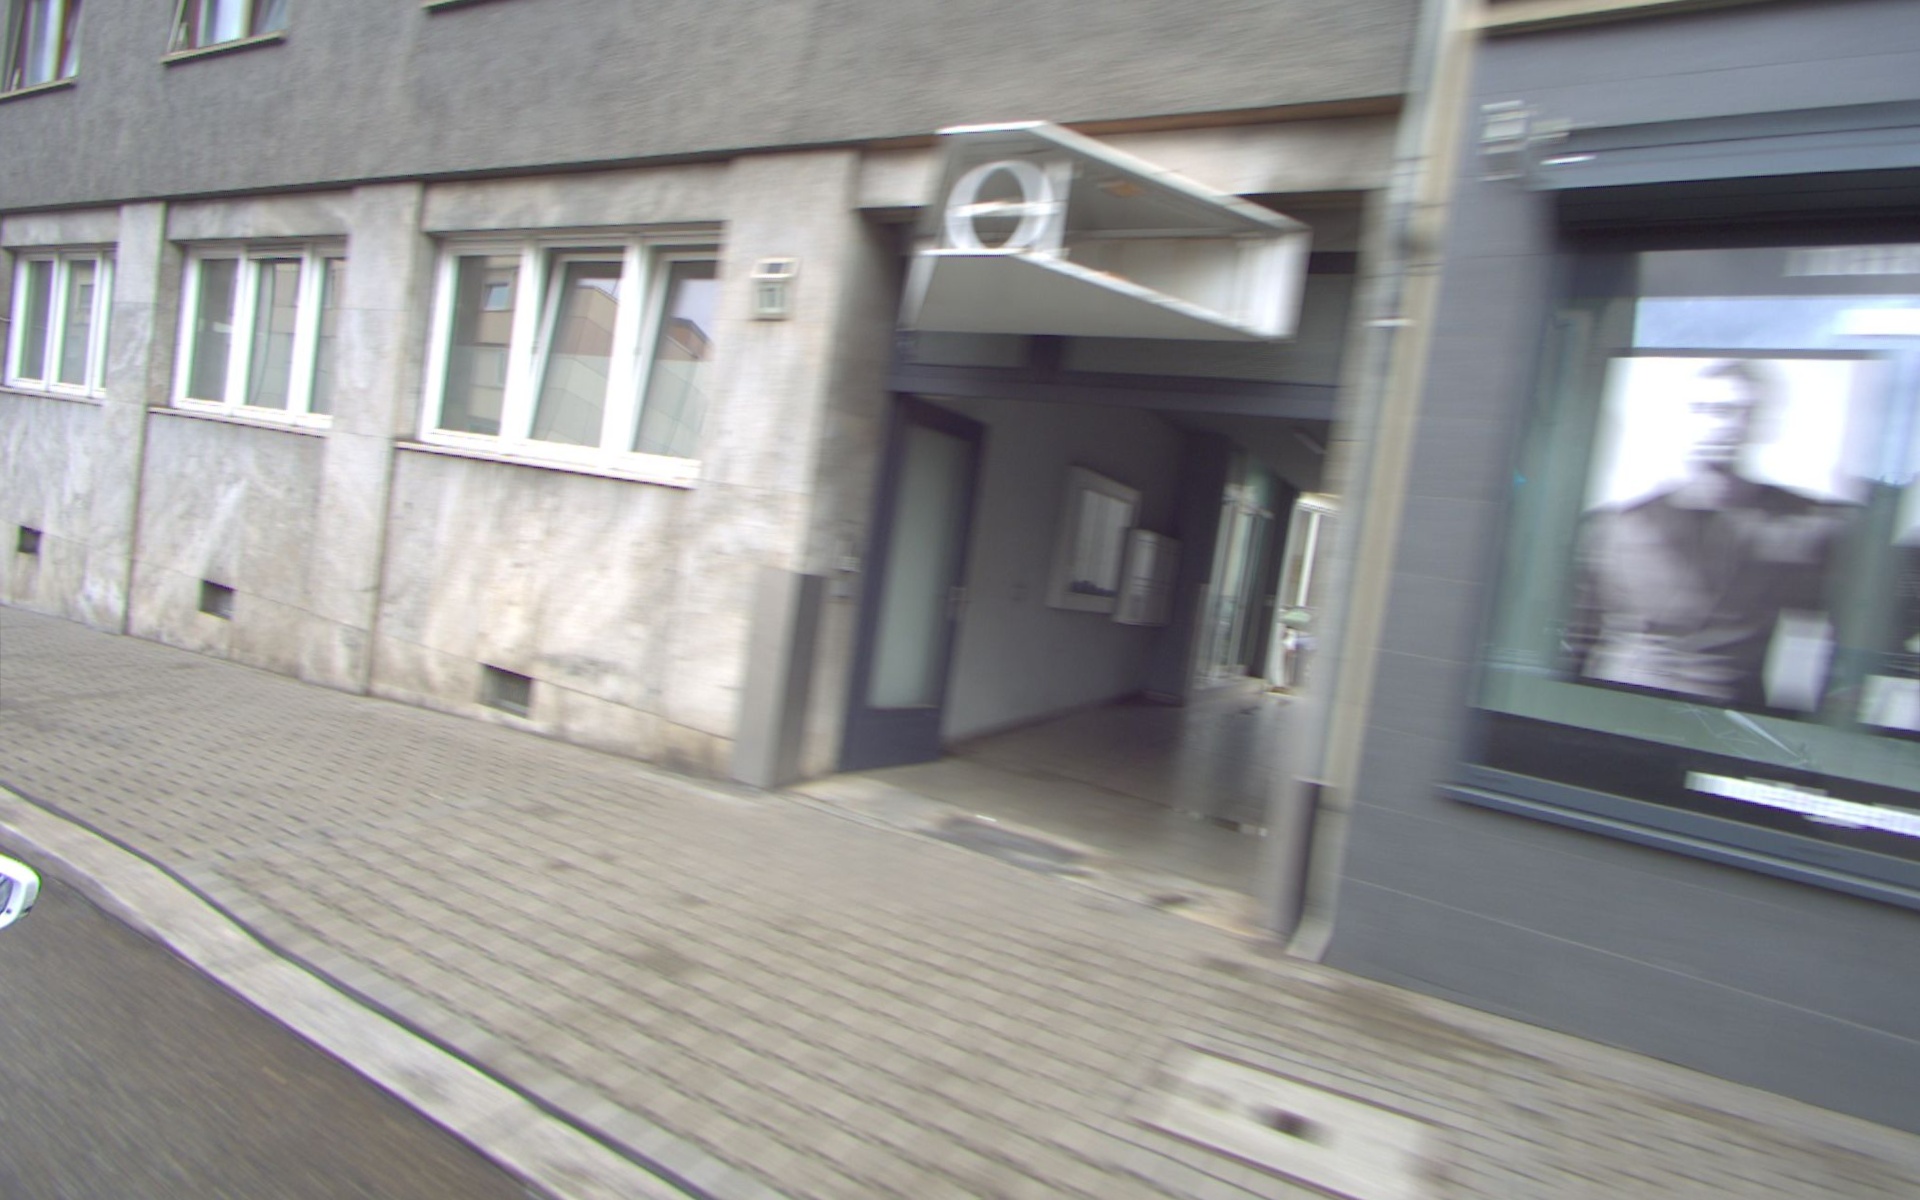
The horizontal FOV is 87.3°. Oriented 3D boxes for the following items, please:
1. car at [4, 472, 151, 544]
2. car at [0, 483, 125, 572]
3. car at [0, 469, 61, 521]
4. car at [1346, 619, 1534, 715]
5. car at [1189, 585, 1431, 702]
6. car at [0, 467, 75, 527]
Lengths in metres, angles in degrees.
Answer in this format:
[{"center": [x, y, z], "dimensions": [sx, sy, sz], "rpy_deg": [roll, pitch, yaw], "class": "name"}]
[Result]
[{"center": [-23.385, -2.430, 26.645], "dimensions": [3.457, 1.531, 1.556], "rpy_deg": [5, -1, 24], "class": "car"}, {"center": [-19.348, -1.595, 20.882], "dimensions": [4.412, 1.495, 1.798], "rpy_deg": [7, 0, 33], "class": "car"}, {"center": [-27.196, -3.024, 28.304], "dimensions": [3.330, 1.216, 1.454], "rpy_deg": [5, -1, 23], "class": "car"}, {"center": [9.916, 1.392, 20.750], "dimensions": [3.622, 1.354, 1.724], "rpy_deg": [9, 3, -34], "class": "car"}, {"center": [6.452, 0.824, 18.381], "dimensions": [4.360, 1.438, 1.724], "rpy_deg": [9, 3, -34], "class": "car"}, {"center": [-30.151, -3.333, 32.096], "dimensions": [3.330, 1.616, 1.454], "rpy_deg": [5, -1, 23], "class": "car"}]
